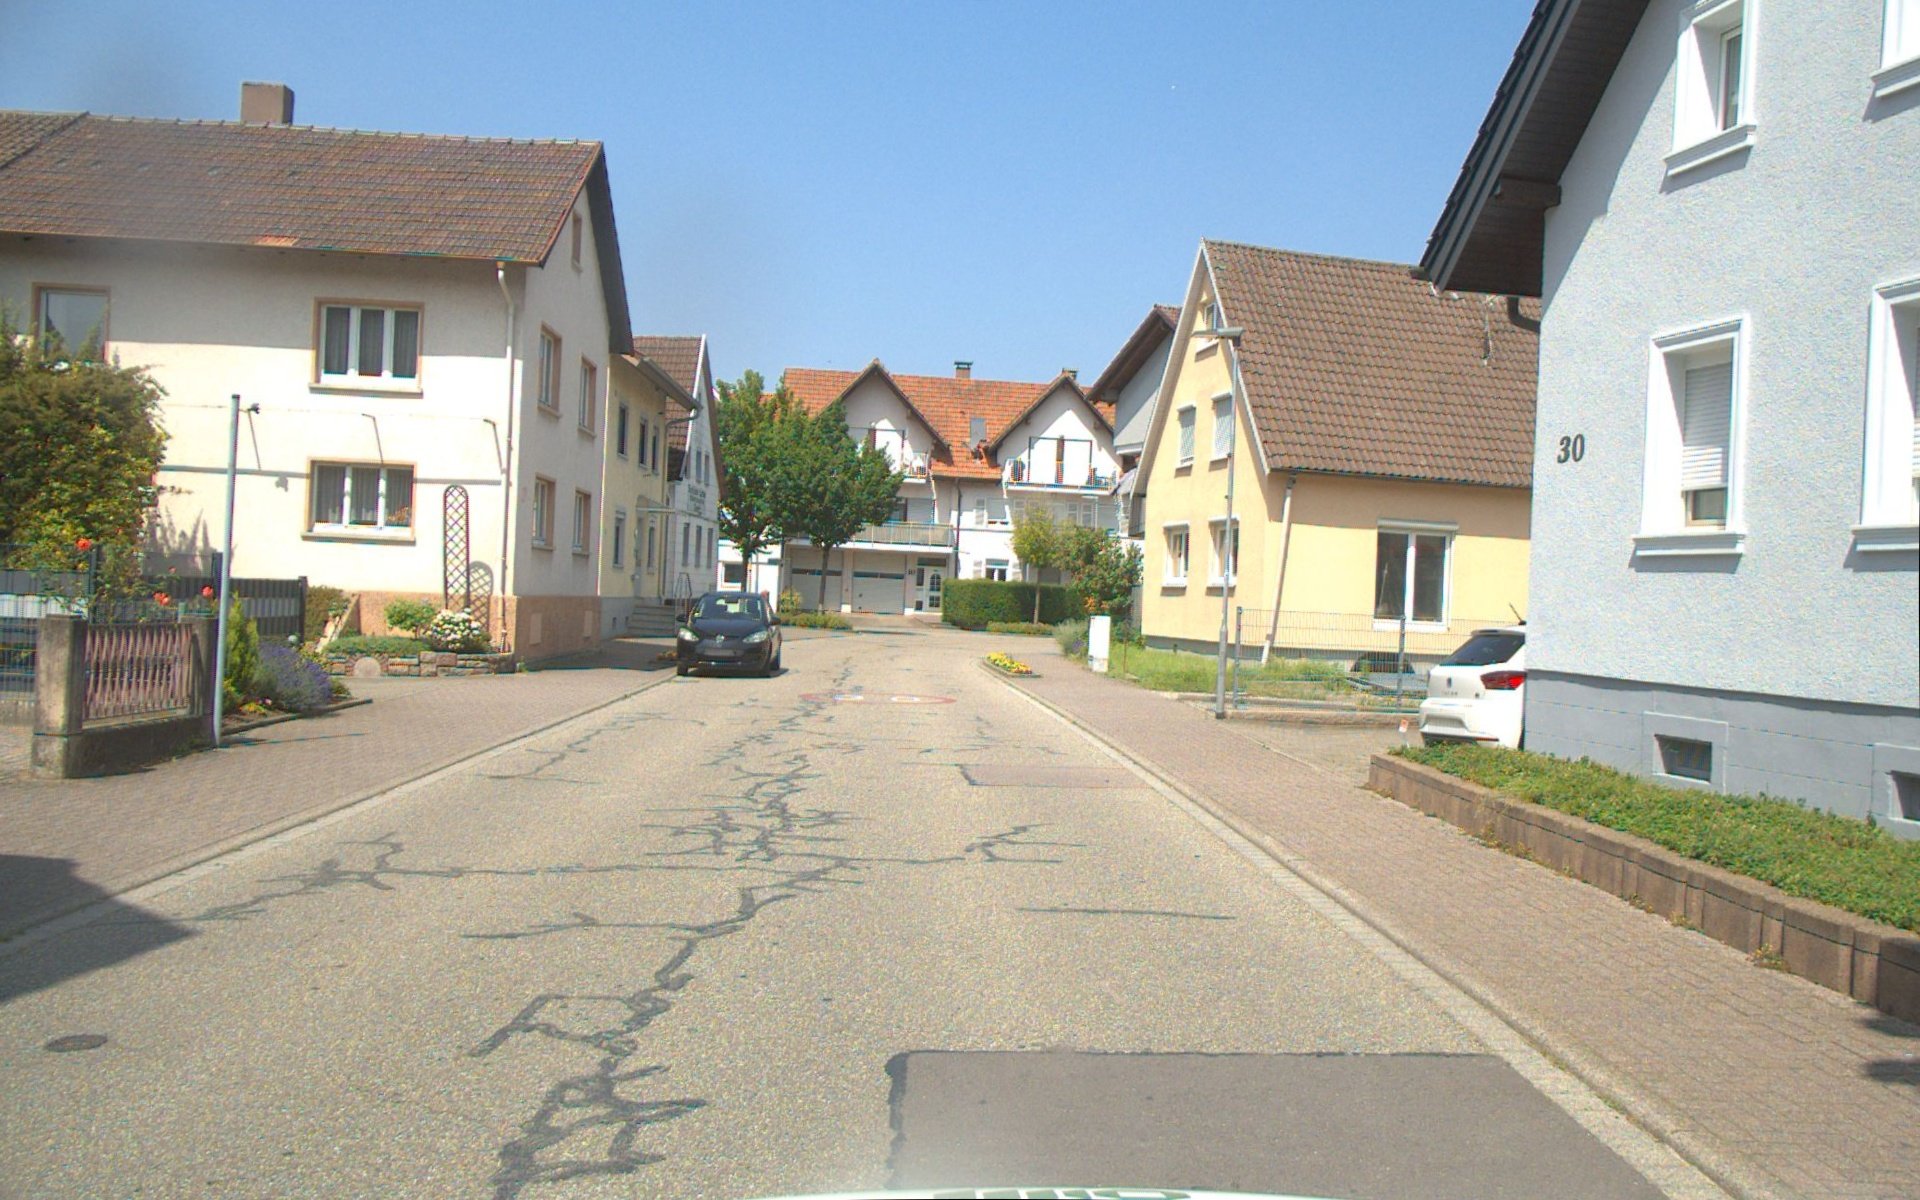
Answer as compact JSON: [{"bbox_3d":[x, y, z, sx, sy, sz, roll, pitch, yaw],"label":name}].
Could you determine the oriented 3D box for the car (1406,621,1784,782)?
[{"bbox_3d":[5.873,0.924,15.430,2.987,1.369,1.419,2,-1,-10],"label":"car"}]

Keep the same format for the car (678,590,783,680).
[{"bbox_3d":[-4.146,0.588,30.379,1.594,1.512,3.997,1,0,-4],"label":"car"}]
